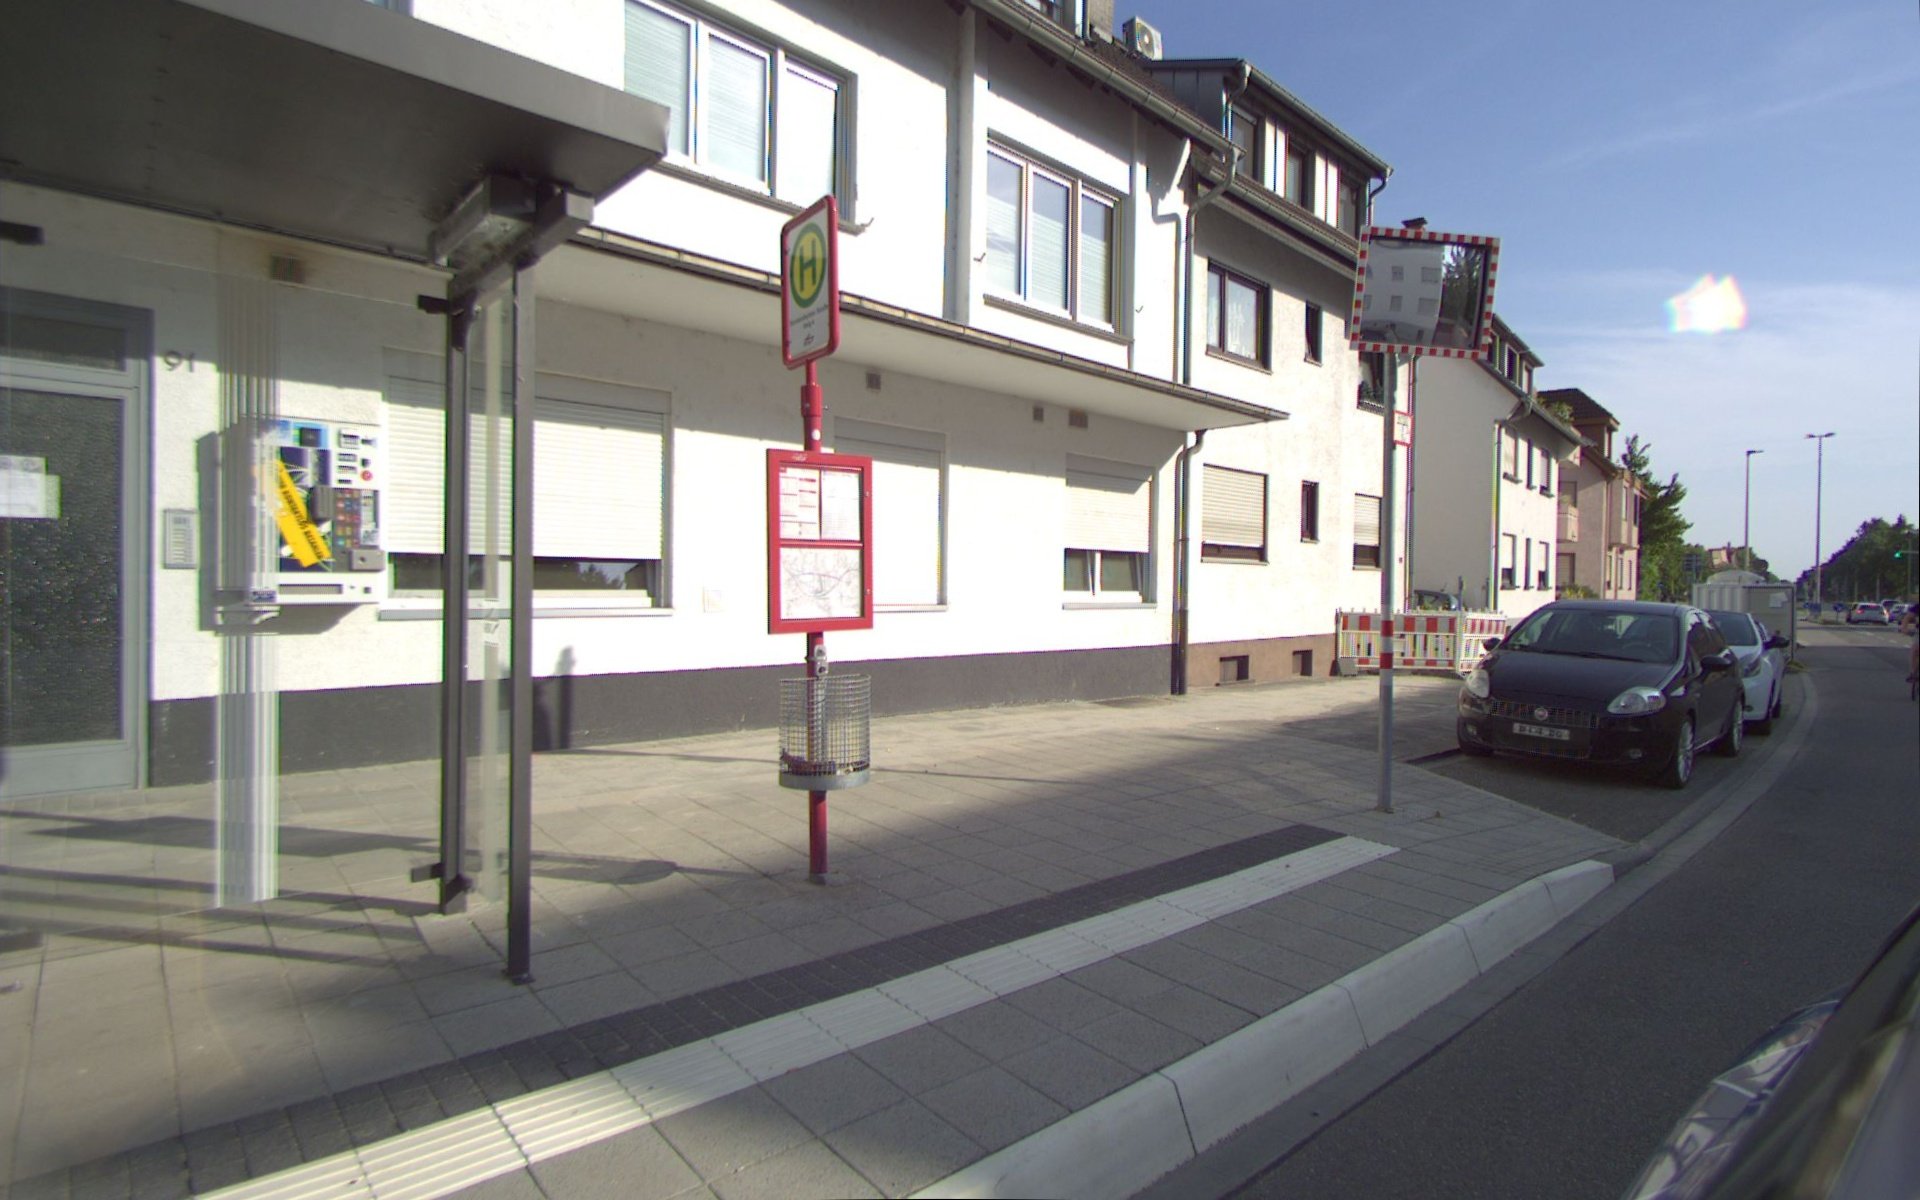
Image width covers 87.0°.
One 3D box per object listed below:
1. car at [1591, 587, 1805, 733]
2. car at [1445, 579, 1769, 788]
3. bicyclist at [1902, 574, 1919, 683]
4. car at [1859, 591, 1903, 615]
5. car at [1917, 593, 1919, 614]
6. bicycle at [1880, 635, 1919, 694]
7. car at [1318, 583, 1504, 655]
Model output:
[{"bbox_3d":[9.458,0.614,12.826,1.715,1.415,4.269,6,4,42],"label":"car"},{"bbox_3d":[6.024,0.580,9.232,3.855,1.438,1.609,0,4,-44],"label":"car"},{"bbox_3d":[15.569,0.459,15.843,0.859,1.710,0.848,0,1,-16],"label":"bicyclist"},{"bbox_3d":[62.457,0.208,68.704,1.974,1.548,3.943,1,1,40],"label":"car"},{"bbox_3d":[67.274,0.236,69.657,1.787,1.460,3.943,0,0,40],"label":"car"},{"bbox_3d":[15.504,1.001,15.844,1.984,0.865,0.682,0,1,-16],"label":"bicycle"},{"bbox_3d":[10.759,0.396,24.272,3.739,1.586,1.767,0,0,43],"label":"car"}]
